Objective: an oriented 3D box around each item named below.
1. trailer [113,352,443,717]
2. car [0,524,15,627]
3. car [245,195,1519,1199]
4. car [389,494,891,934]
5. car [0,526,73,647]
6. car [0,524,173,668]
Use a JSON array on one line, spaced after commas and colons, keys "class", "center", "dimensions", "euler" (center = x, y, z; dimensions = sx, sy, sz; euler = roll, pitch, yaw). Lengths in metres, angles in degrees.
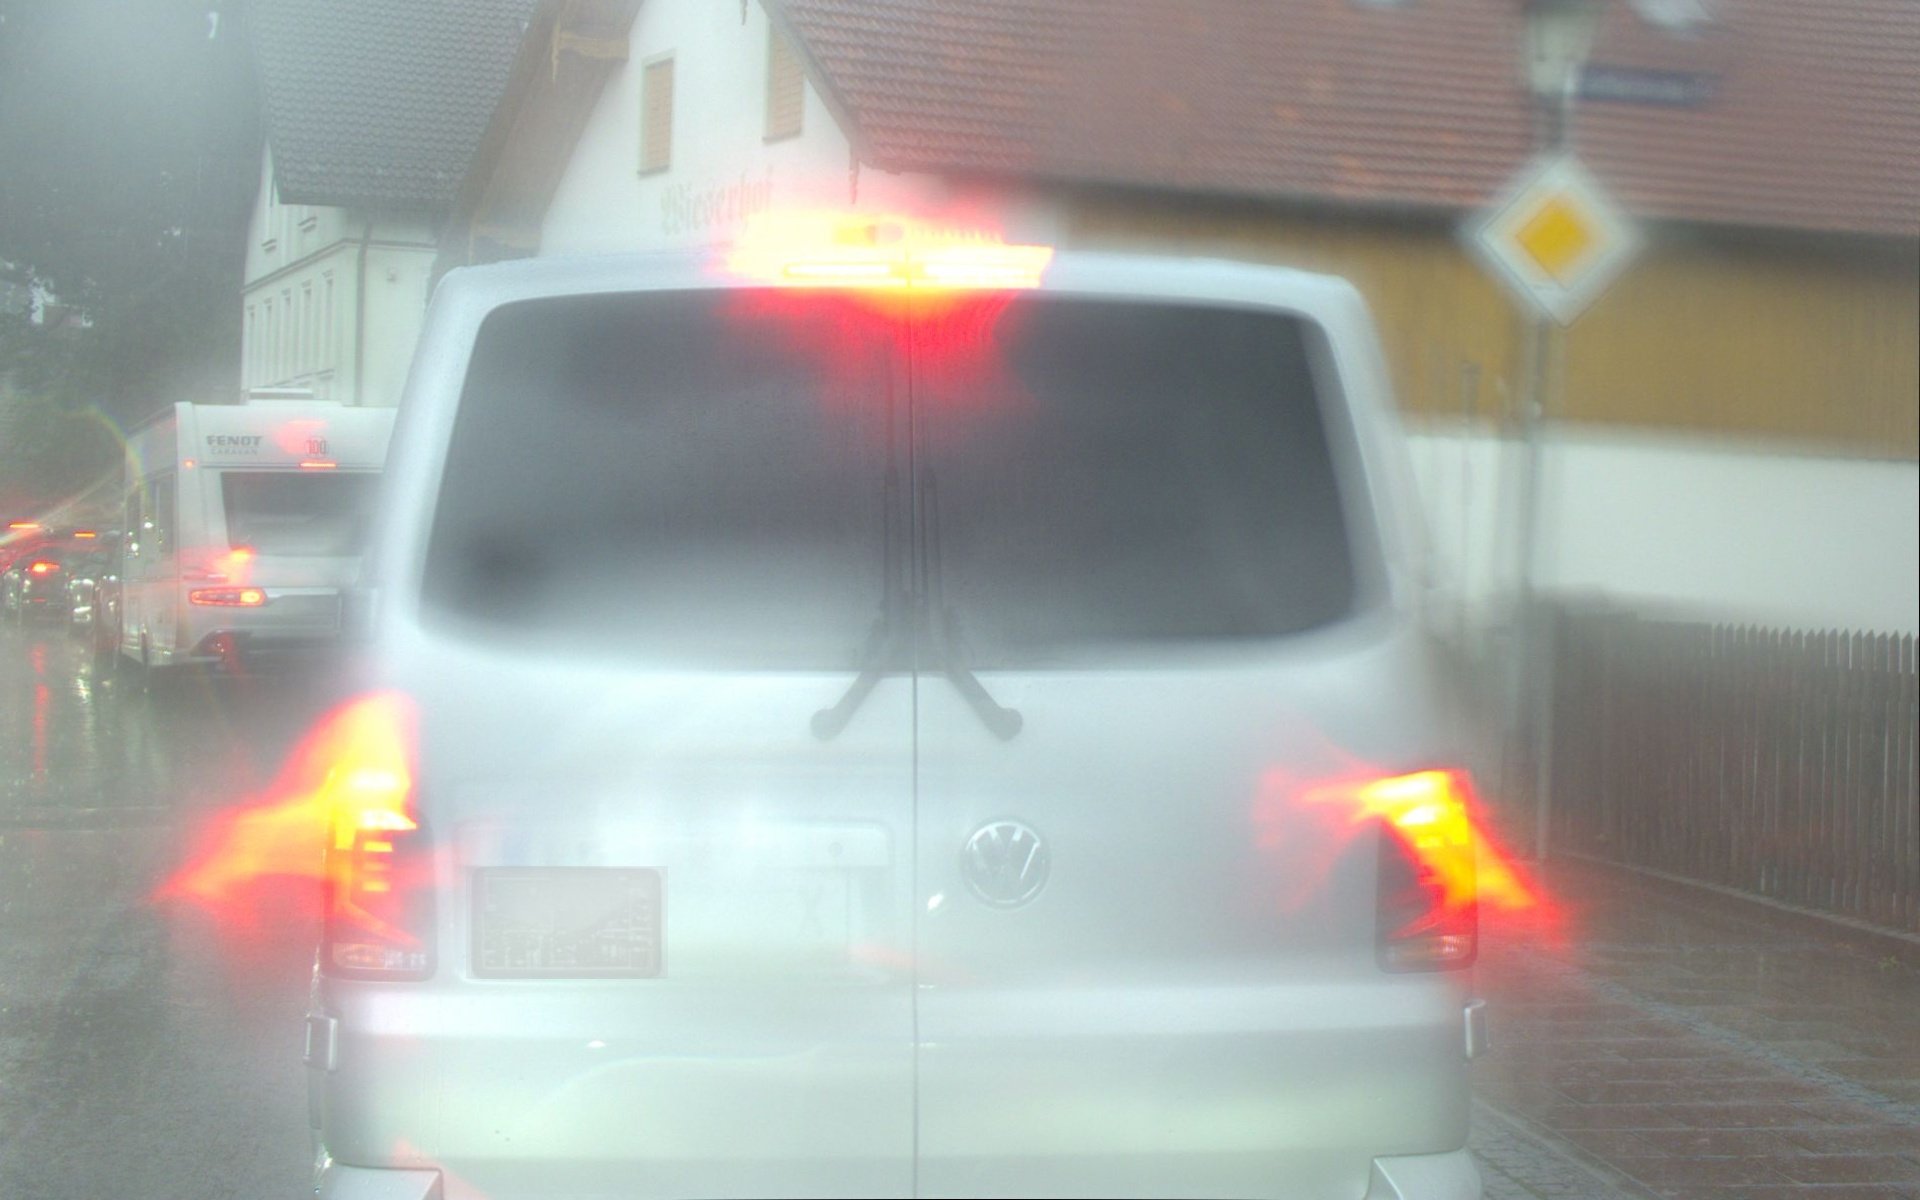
[{"class": "trailer", "center": [-6.184, -0.570, 30.528], "dimensions": [2.270, 2.894, 6.134], "euler": [0, 1, -17]}, {"class": "car", "center": [-19.770, -0.564, 66.981], "dimensions": [2.168, 1.892, 5.016], "euler": [2, 1, -20]}, {"class": "car", "center": [-0.138, 0.381, 7.348], "dimensions": [1.776, 1.956, 5.074], "euler": [0, 1, -1]}, {"class": "car", "center": [-1.551, 0.346, 14.986], "dimensions": [1.708, 1.578, 4.687], "euler": [-1, 2, -11]}, {"class": "car", "center": [-16.610, -0.298, 58.926], "dimensions": [2.168, 1.892, 5.016], "euler": [2, 1, -20]}, {"class": "car", "center": [-13.095, -0.103, 50.861], "dimensions": [2.168, 1.892, 5.016], "euler": [2, 1, -20]}]
